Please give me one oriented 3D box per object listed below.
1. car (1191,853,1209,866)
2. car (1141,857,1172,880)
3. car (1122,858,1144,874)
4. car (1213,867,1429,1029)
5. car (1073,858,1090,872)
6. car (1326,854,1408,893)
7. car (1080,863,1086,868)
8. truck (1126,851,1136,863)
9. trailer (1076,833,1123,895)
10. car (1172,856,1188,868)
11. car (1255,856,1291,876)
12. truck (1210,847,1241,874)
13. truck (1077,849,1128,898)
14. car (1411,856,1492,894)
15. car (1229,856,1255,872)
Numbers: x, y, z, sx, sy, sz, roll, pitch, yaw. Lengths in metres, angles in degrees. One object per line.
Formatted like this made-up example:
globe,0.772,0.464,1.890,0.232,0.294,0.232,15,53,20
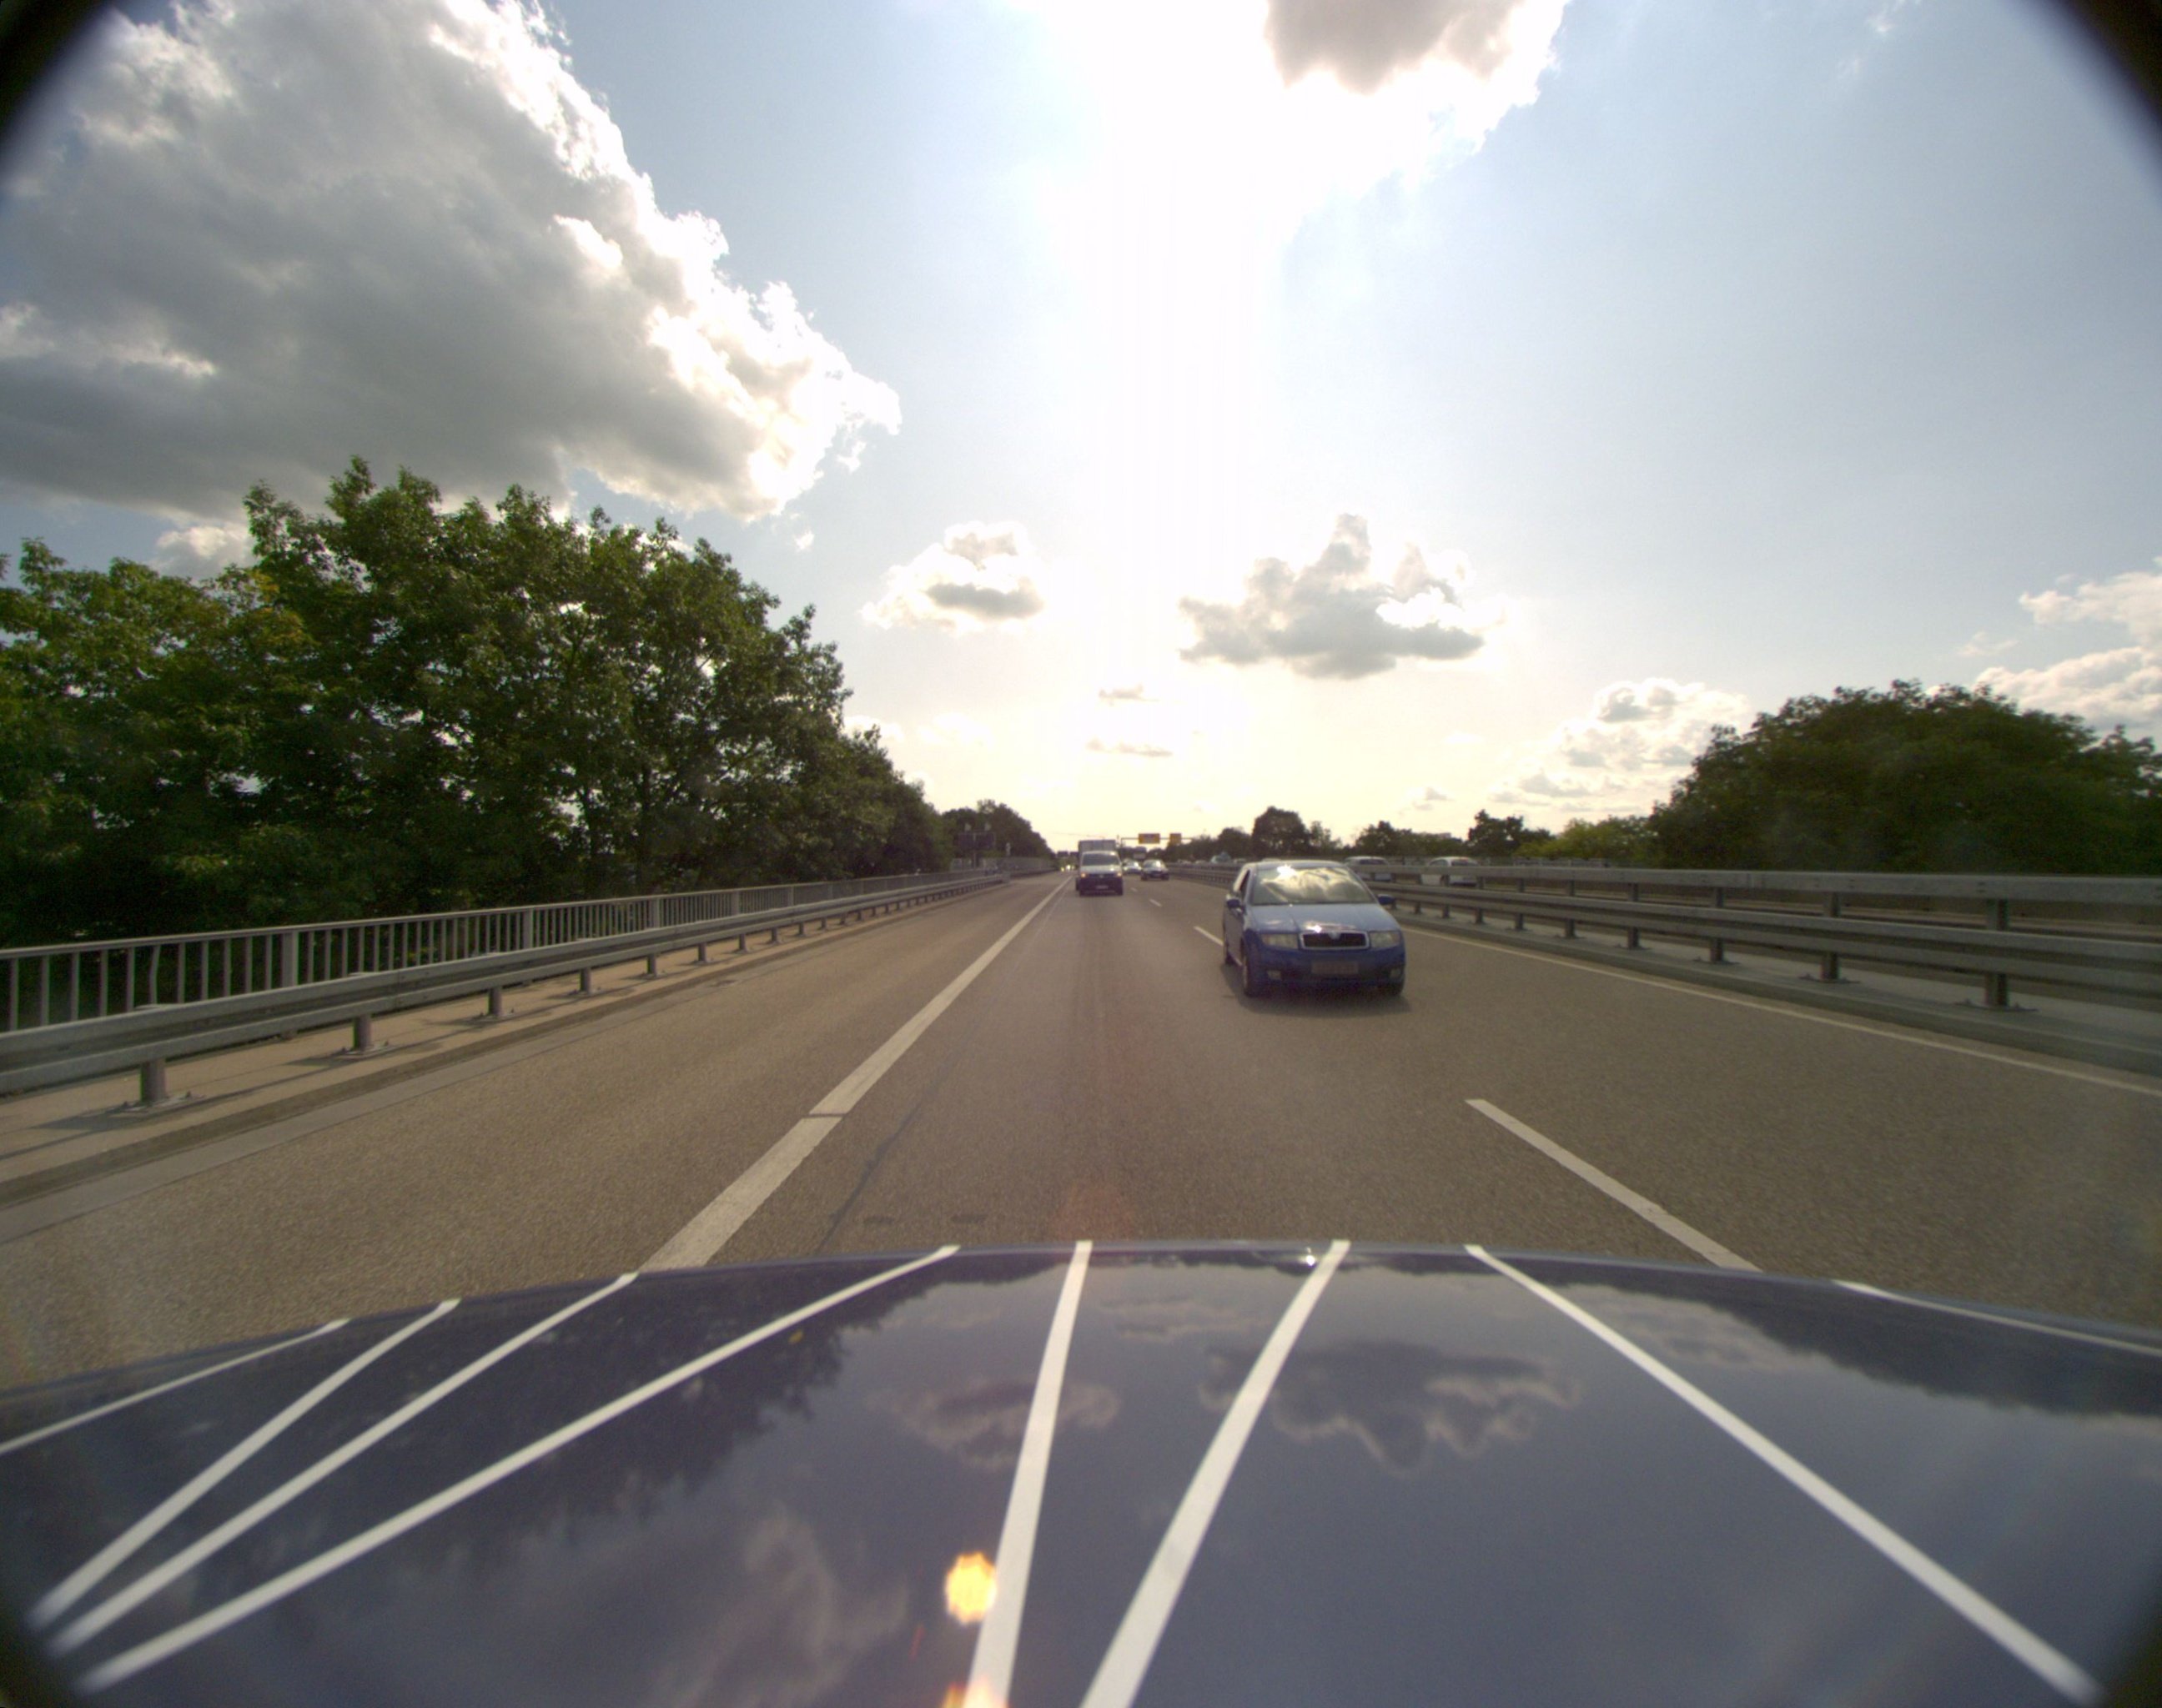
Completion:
car,16.774,0.783,107.208,1.586,1.700,4.411,-2,-1,-1
car,5.387,1.035,54.539,1.779,1.518,4.465,-2,0,1
car,5.304,1.233,77.773,1.895,1.518,4.465,-2,0,1
car,2.555,0.922,8.973,1.625,1.403,3.773,-2,0,5
car,0.074,1.295,89.715,1.802,1.586,3.985,-2,0,1
car,12.521,0.807,33.545,1.907,1.520,4.243,-2,0,-2
car,0.547,3.450,231.575,1.895,1.518,4.465,-2,0,1
truck,16.655,1.077,253.070,2.655,3.760,6.233,-2,0,0
trailer,0.837,0.458,37.527,1.999,2.723,5.967,-2,0,0
car,18.112,1.472,139.209,1.965,1.913,5.191,-3,-1,-2
car,17.171,1.062,68.155,1.896,1.630,4.512,-2,0,-2
truck,12.843,0.560,67.792,1.877,2.174,5.188,-2,0,2
truck,0.870,0.798,32.526,2.008,1.905,4.000,-1,0,0
car,16.836,0.895,34.731,1.833,1.572,3.954,-2,0,2
car,16.814,1.010,79.352,1.826,1.629,4.000,-2,0,0
